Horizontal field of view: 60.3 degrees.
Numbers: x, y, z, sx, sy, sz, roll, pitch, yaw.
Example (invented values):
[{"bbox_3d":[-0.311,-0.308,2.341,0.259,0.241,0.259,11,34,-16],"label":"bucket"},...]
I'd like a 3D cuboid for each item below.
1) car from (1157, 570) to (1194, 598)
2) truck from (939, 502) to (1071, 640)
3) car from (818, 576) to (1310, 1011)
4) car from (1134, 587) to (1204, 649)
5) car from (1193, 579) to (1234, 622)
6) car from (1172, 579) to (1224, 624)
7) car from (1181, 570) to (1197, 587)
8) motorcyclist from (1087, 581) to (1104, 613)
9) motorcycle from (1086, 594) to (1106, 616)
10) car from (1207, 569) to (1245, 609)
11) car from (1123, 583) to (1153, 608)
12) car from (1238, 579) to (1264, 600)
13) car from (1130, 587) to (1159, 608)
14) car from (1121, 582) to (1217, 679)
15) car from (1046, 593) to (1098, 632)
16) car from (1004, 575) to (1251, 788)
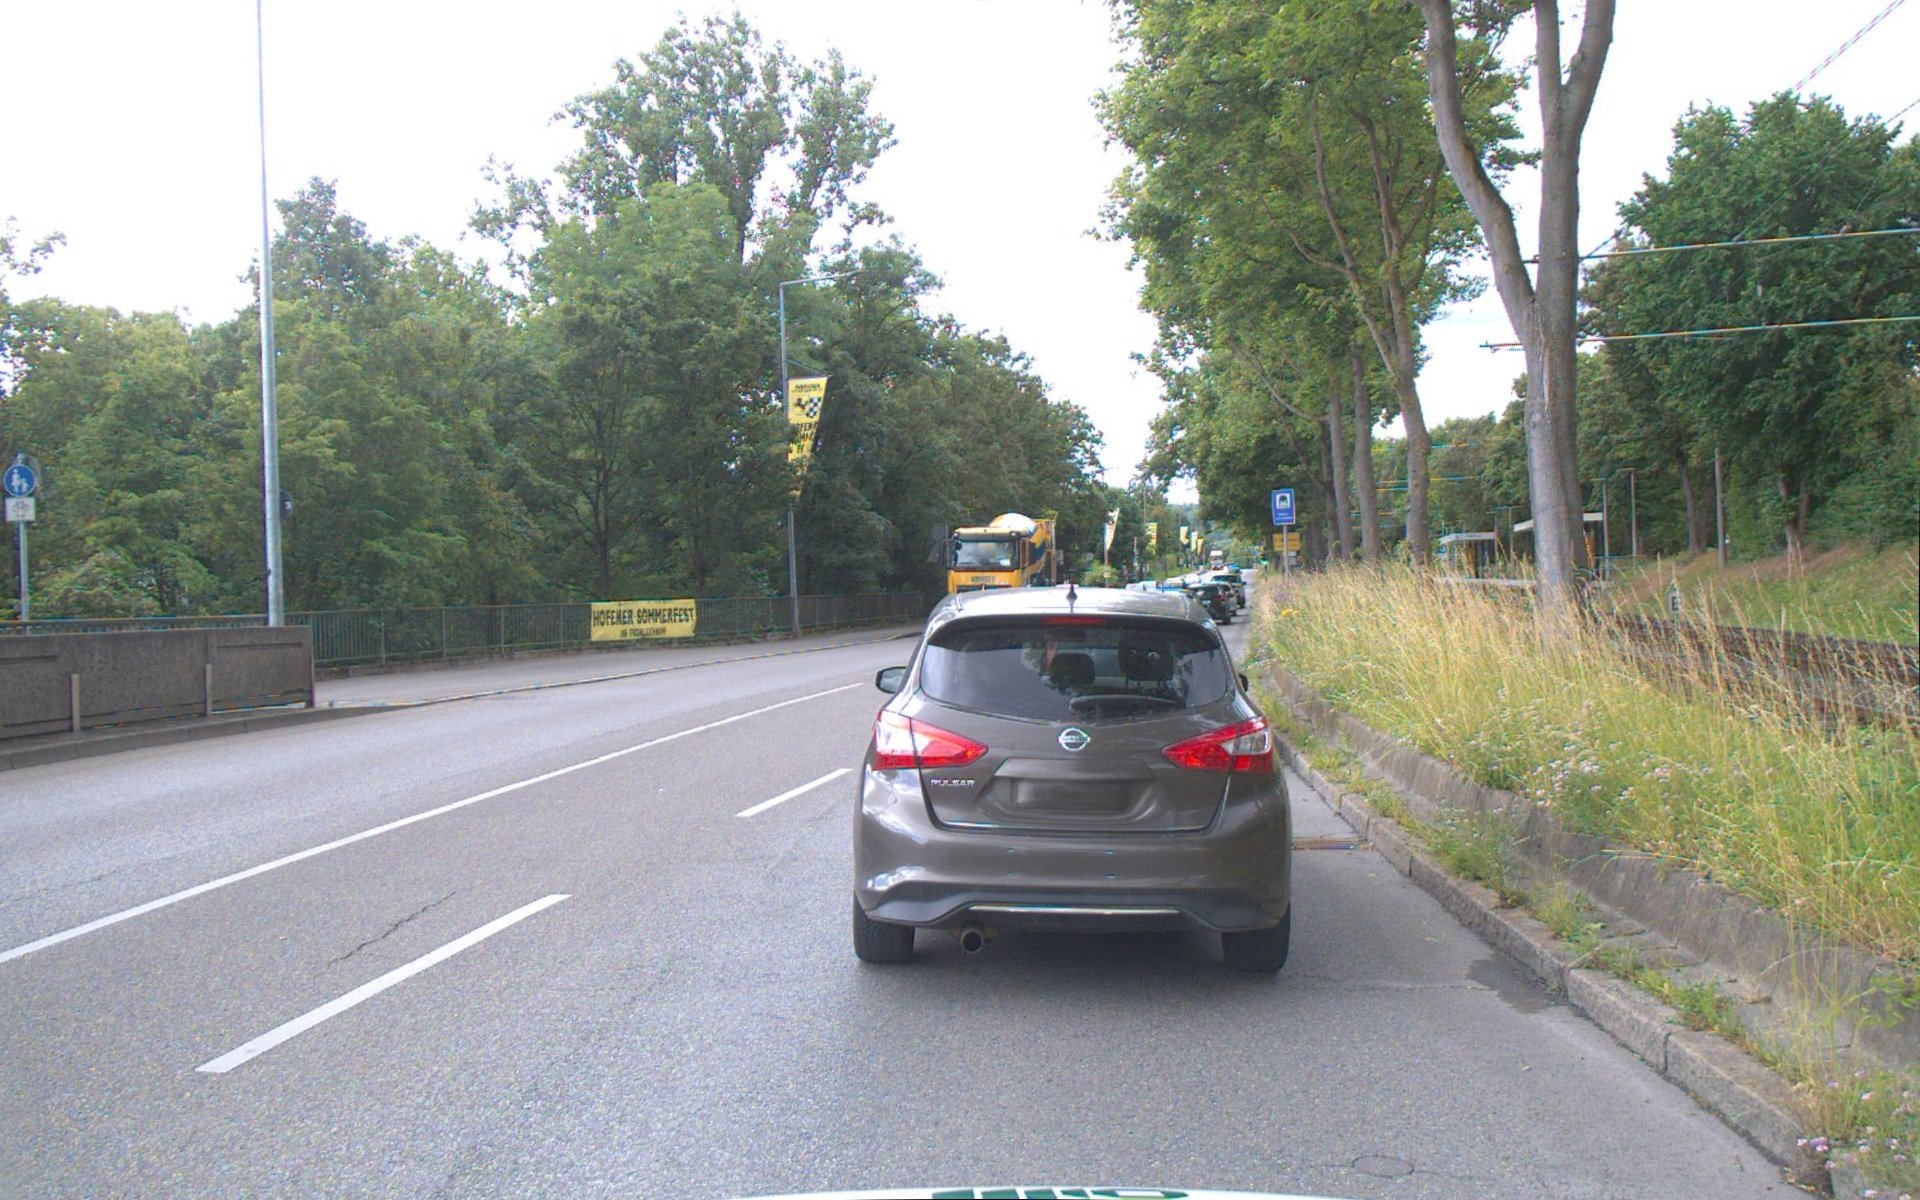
[{"bbox_3d":[12.788,-0.925,98.020,1.812,1.512,4.424,-1,-1,11],"label":"car"},{"bbox_3d":[1.625,-0.875,53.113,2.598,4.007,10.120,0,0,11],"label":"truck"},{"bbox_3d":[0.524,0.705,7.877,1.737,1.520,4.002,0,-1,5],"label":"car"},{"bbox_3d":[5.034,0.417,39.600,1.468,1.388,3.590,-2,0,10],"label":"car"},{"bbox_3d":[11.135,0.054,72.419,1.681,1.723,4.003,-2,-2,9],"label":"car"},{"bbox_3d":[8.583,0.060,59.396,1.766,1.567,4.003,0,0,9],"label":"car"},{"bbox_3d":[25.229,-2.340,182.215,1.681,1.723,3.728,-2,-2,9],"label":"car"},{"bbox_3d":[6.710,-0.174,81.624,0.729,1.566,0.791,-1,0,11],"label":"motorcyclist"},{"bbox_3d":[6.707,0.245,81.592,0.729,1.051,1.890,-1,1,12],"label":"motorcycle"},{"bbox_3d":[14.319,-0.584,88.932,1.850,2.049,4.004,-1,0,11],"label":"car"},{"bbox_3d":[11.732,-0.283,109.008,1.684,1.467,4.003,-2,-2,10],"label":"car"},{"bbox_3d":[21.536,-0.792,122.469,1.850,1.470,3.810,-1,0,11],"label":"car"},{"bbox_3d":[13.610,-0.186,121.784,1.779,1.488,4.004,-2,0,10],"label":"car"},{"bbox_3d":[3.718,0.517,29.651,1.544,1.565,4.003,-2,0,6],"label":"car"},{"bbox_3d":[4.622,0.475,67.670,1.729,1.505,4.004,0,0,9],"label":"car"},{"bbox_3d":[1.380,0.648,14.534,1.853,1.601,4.001,0,-1,3],"label":"car"}]
